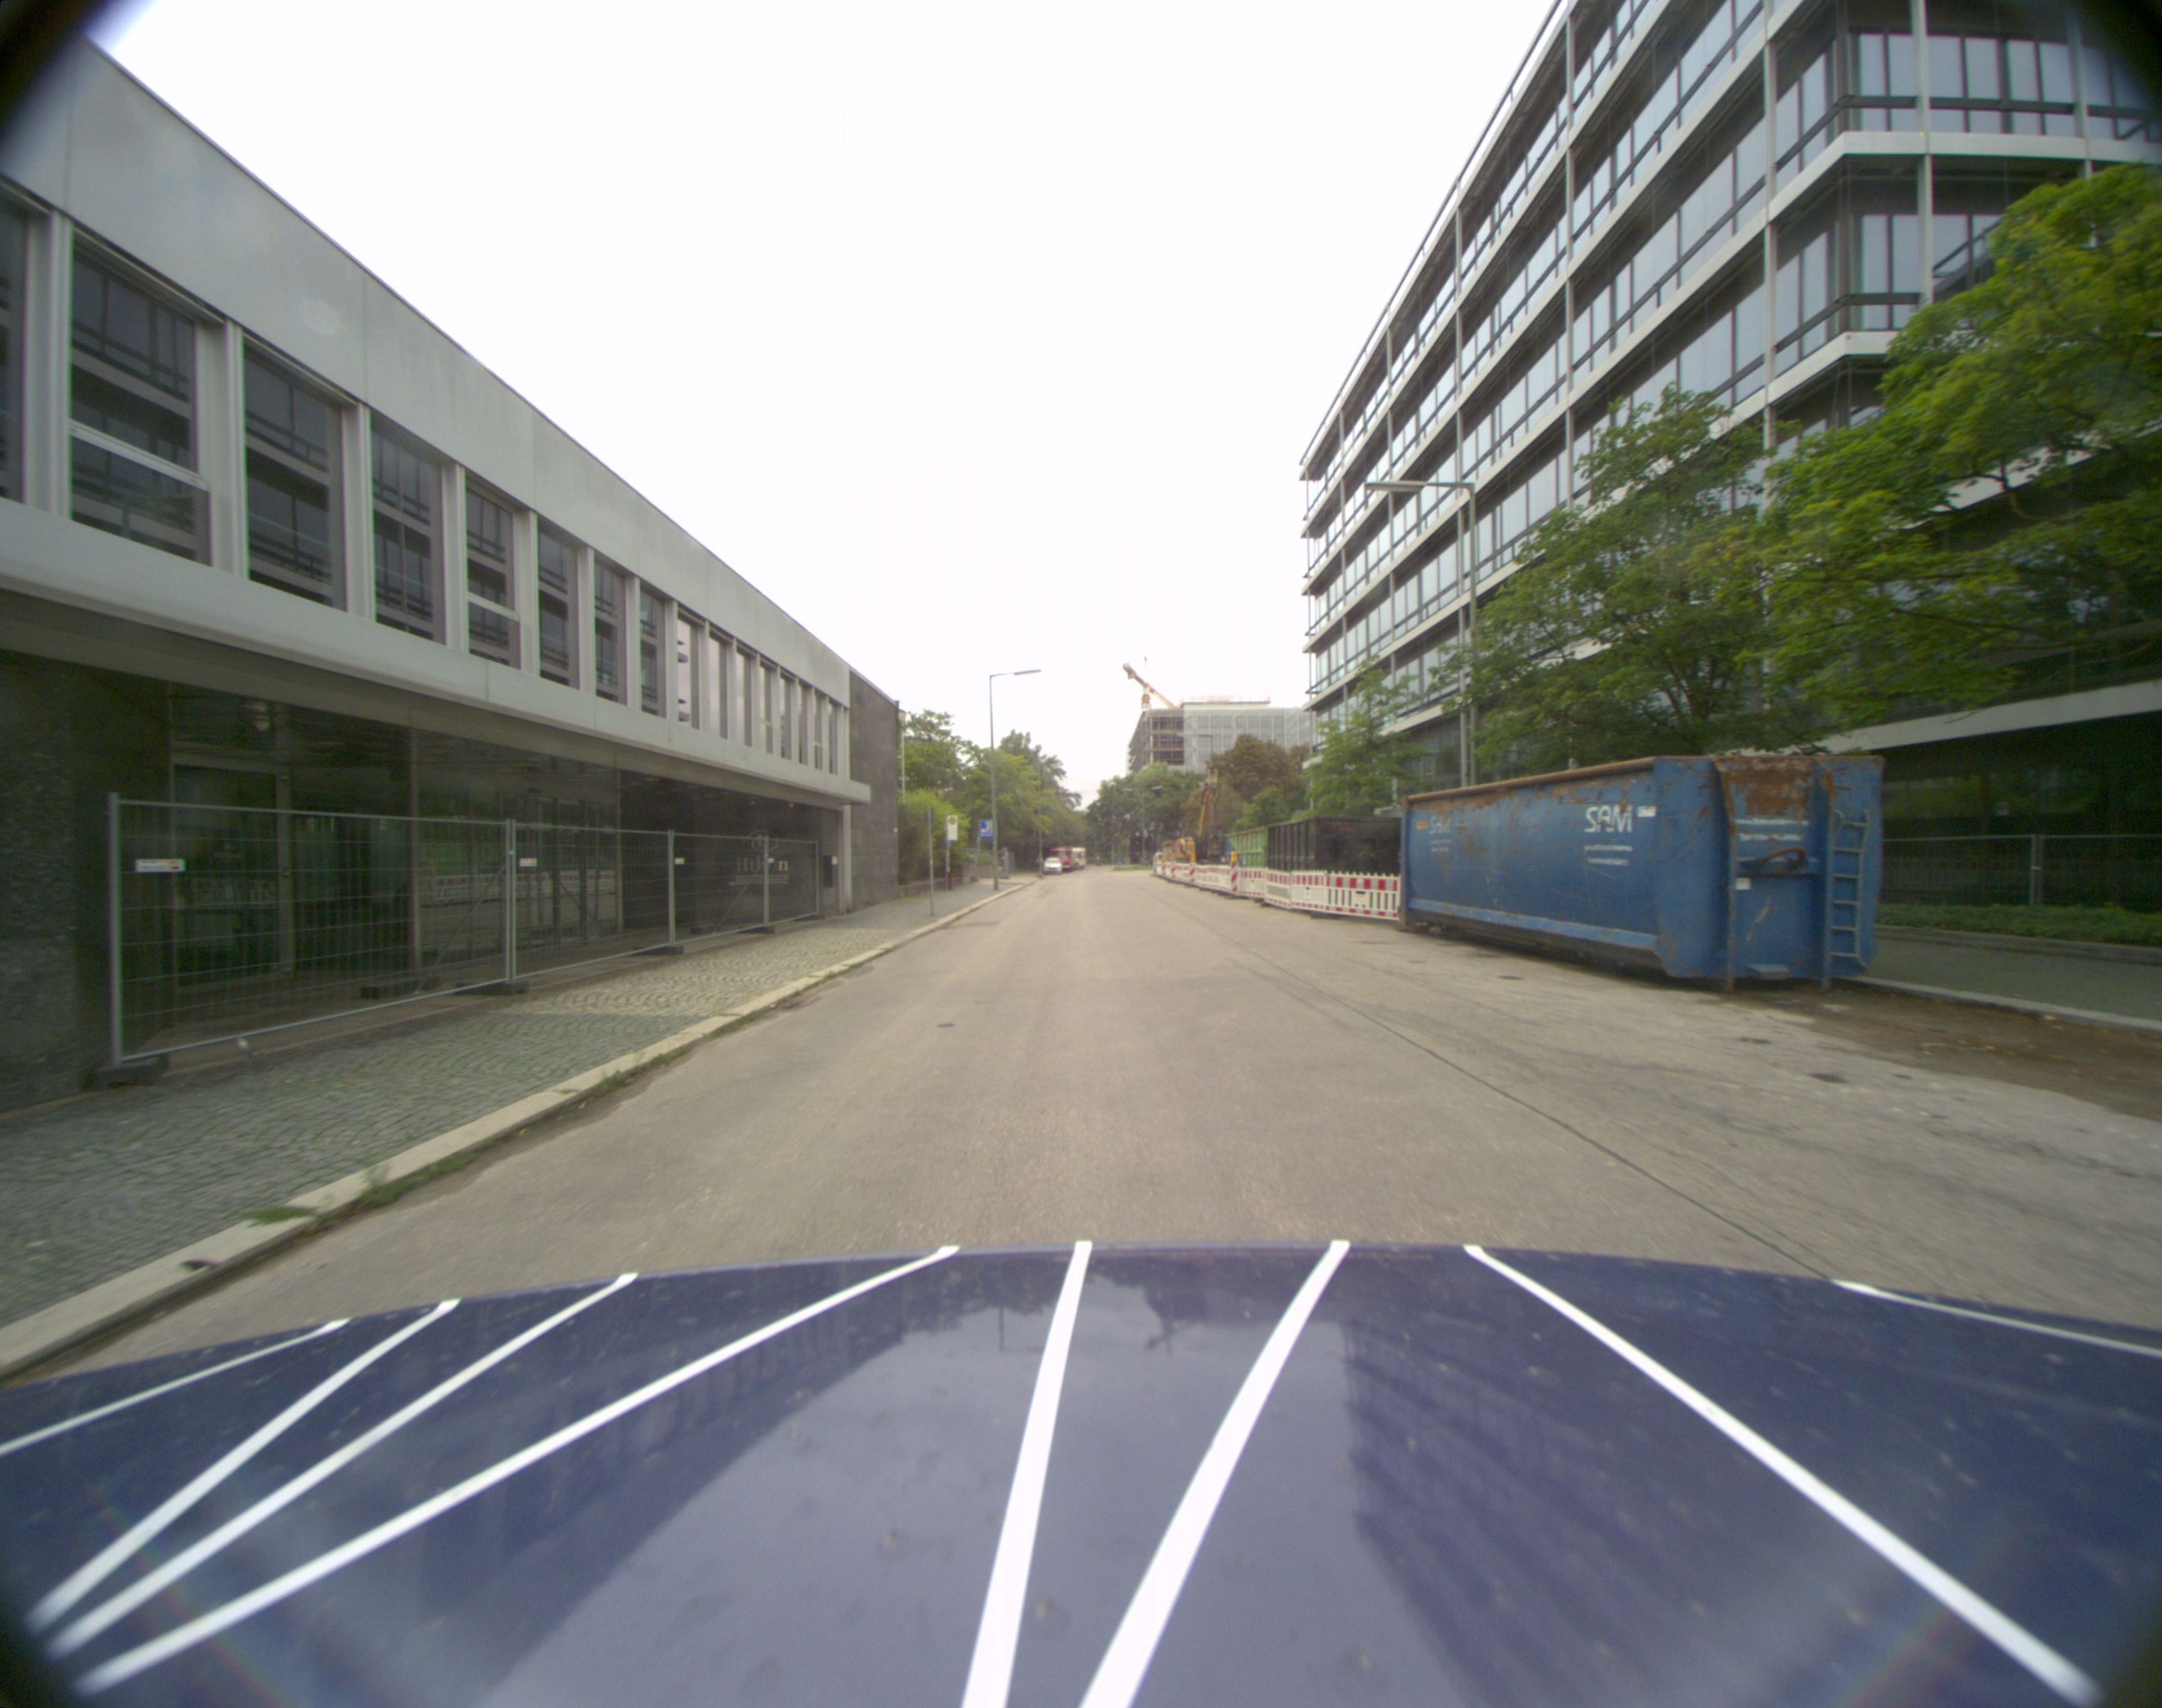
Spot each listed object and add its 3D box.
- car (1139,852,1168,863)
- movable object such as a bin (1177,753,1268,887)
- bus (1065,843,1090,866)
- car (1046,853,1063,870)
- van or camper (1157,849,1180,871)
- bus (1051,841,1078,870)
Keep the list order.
[{"bbox_3d":[11.063,0.479,115.908,3.891,1.564,1.786,0,2,-22],"label":"car"},{"bbox_3d":[7.695,-1.708,43.201,2.911,6.526,11.782,0,1,0],"label":"movable object such as a bin"},{"bbox_3d":[-0.355,0.018,91.767,2.076,2.714,5.871,0,0,10],"label":"bus"},{"bbox_3d":[-2.510,0.651,71.116,1.536,1.483,4.059,0,1,-2],"label":"car"},{"bbox_3d":[8.491,0.540,74.352,1.993,2.022,5.588,1,0,4],"label":"van or camper"},{"bbox_3d":[-1.595,0.126,77.872,2.077,2.789,6.274,0,0,5],"label":"bus"}]
